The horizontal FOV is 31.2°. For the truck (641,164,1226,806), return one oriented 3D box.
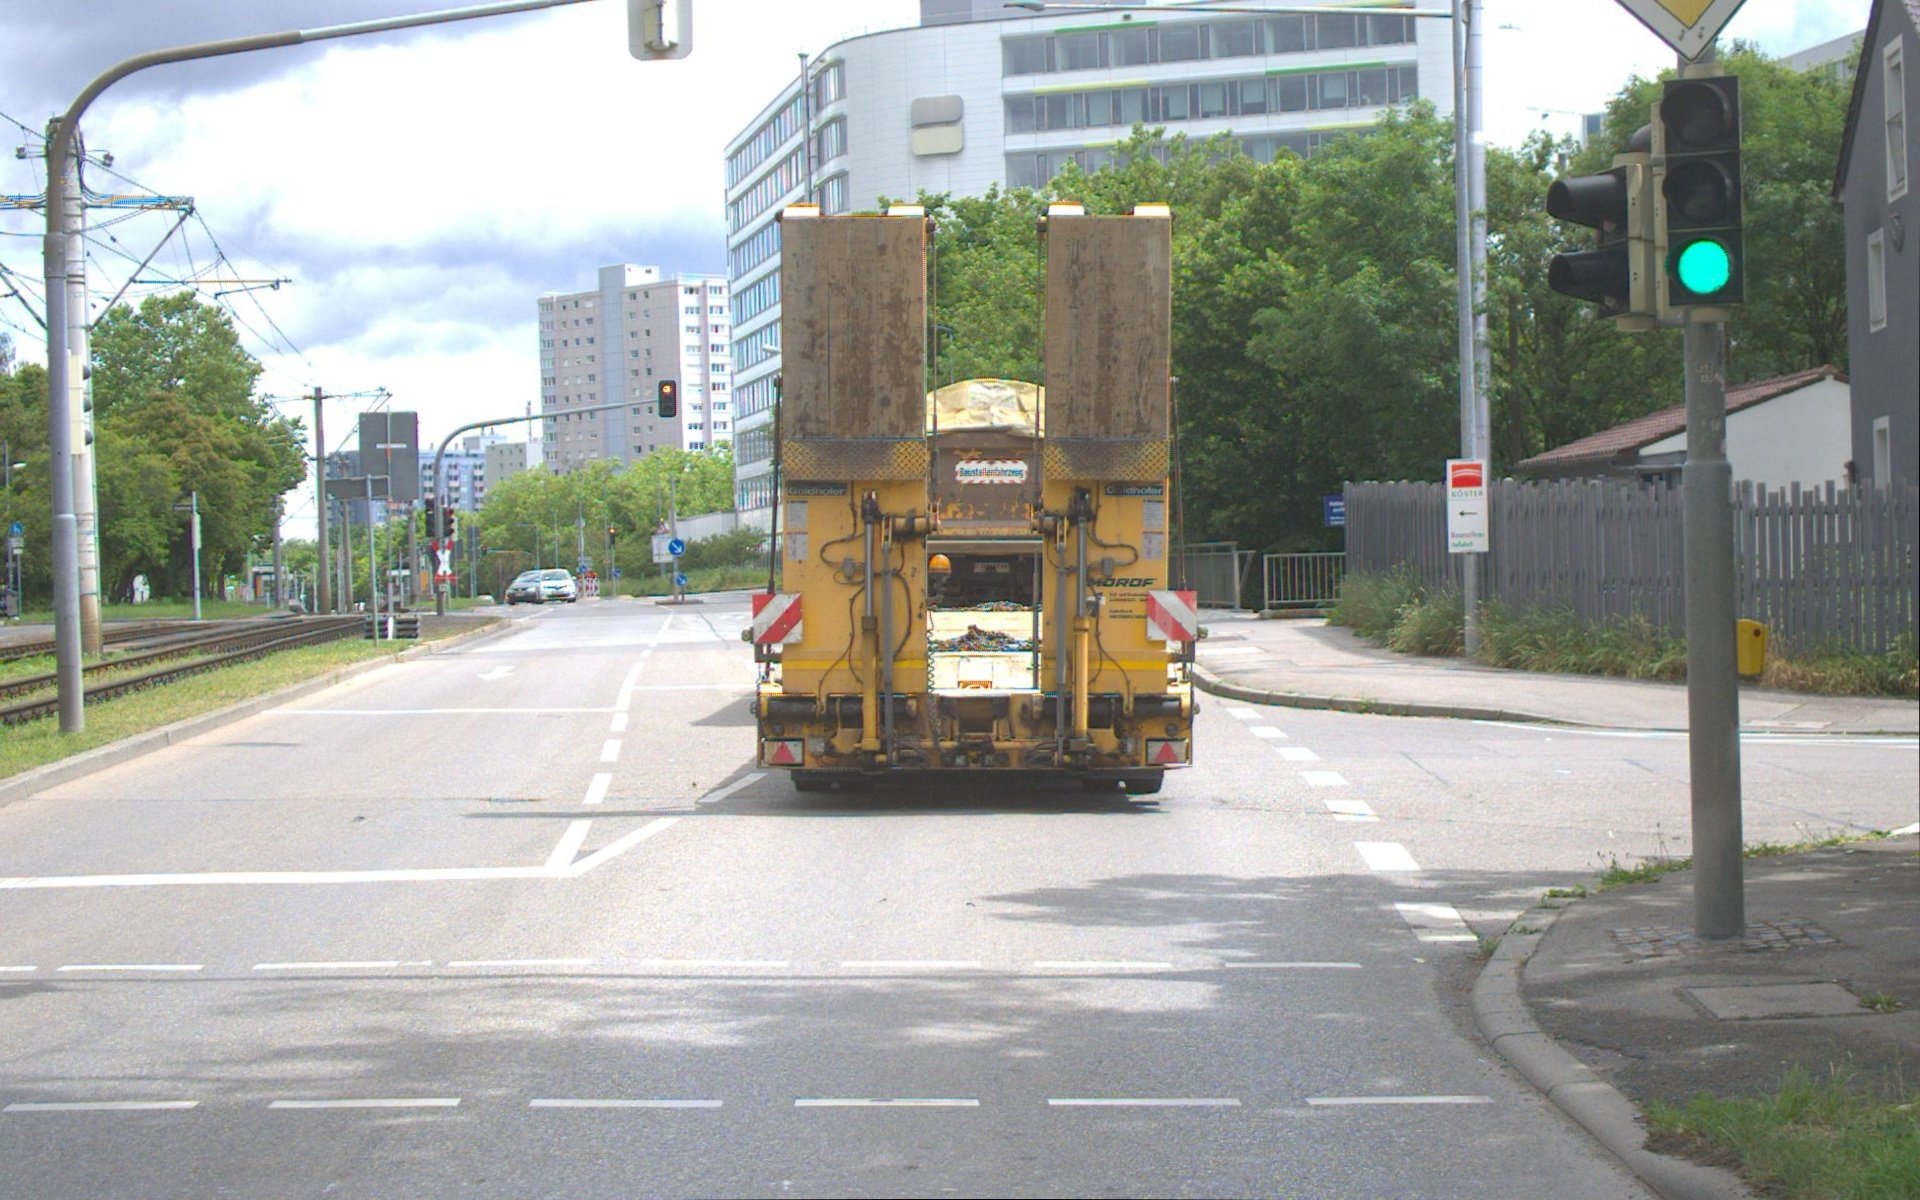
[{"bbox_3d":[-0.346,-0.699,25.838,3.316,3.638,12.563,0,0,-2],"label":"truck"}]

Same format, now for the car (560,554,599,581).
[{"bbox_3d":[-20.320,-1.712,183.508,1.993,1.415,4.001,0,0,-7],"label":"car"}]

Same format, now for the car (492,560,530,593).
[{"bbox_3d":[-22.111,-1.155,169.185,1.783,1.564,4.346,-2,0,-8],"label":"car"}]

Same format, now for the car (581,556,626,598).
[{"bbox_3d":[-16.684,-1.086,160.665,1.993,1.919,4.001,0,0,-7],"label":"car"}]

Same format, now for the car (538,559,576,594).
[{"bbox_3d":[-18.313,-1.073,156.391,1.593,1.521,3.656,-2,0,-5],"label":"car"}]

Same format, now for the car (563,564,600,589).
[{"bbox_3d":[-21.319,-1.323,193.460,1.993,1.415,4.001,0,0,-7],"label":"car"}]
